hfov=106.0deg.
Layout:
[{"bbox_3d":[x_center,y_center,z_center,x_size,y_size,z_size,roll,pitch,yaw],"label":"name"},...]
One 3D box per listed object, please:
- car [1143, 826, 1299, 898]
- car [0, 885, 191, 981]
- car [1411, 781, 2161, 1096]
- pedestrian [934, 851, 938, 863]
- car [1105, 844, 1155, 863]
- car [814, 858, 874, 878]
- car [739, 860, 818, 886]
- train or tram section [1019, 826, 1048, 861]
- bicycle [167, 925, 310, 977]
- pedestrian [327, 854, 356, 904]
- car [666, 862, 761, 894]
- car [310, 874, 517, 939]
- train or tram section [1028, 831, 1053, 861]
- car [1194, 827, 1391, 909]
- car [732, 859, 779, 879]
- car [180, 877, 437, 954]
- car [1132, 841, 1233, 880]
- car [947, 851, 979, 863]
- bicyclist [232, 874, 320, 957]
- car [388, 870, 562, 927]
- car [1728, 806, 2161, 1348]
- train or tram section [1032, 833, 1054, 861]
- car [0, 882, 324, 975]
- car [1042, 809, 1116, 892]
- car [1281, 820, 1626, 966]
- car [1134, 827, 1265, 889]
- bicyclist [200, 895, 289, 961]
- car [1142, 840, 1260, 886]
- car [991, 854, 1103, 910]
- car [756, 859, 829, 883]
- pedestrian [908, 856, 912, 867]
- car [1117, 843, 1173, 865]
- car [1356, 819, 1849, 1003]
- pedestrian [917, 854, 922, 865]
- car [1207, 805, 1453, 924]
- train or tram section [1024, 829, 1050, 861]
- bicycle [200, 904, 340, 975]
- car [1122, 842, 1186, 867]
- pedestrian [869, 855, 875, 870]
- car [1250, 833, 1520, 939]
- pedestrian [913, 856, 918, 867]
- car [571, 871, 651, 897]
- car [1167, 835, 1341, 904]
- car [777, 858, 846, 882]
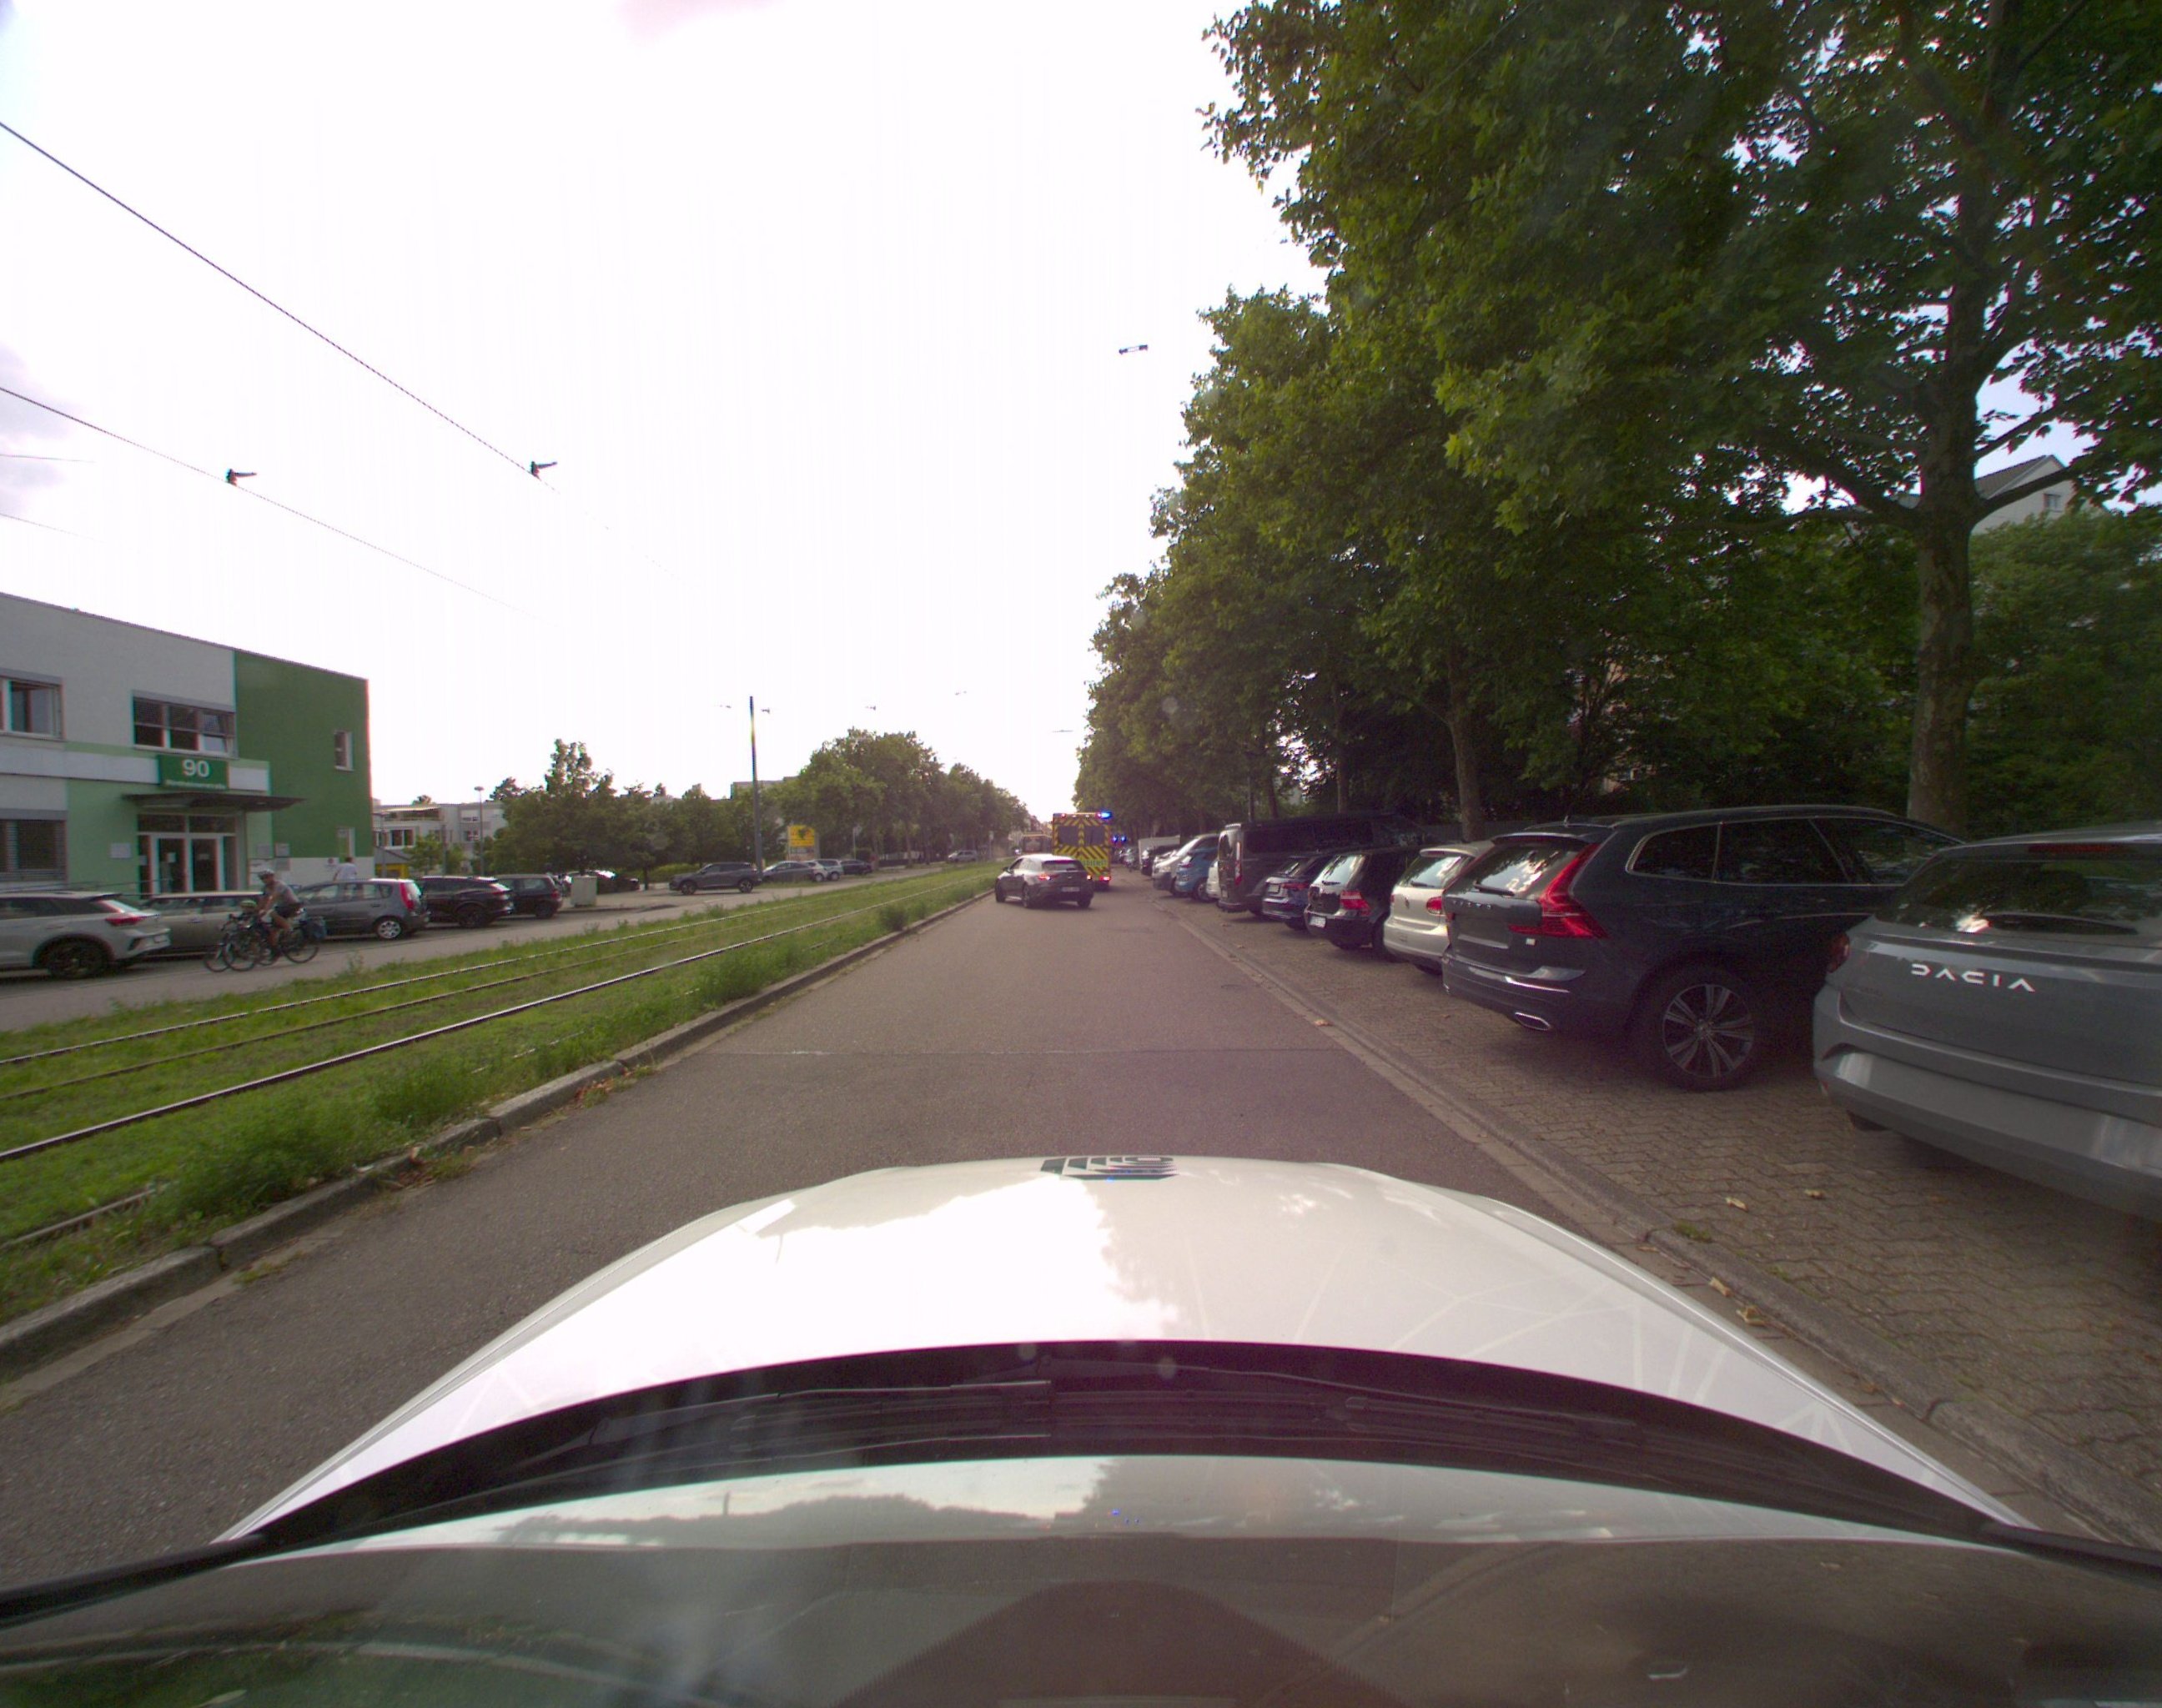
[{"bbox_3d":[4.413,0.231,26.098,4.537,2.000,1.853,-3,0,-4],"label":"car"},{"bbox_3d":[-19.116,1.443,14.351,4.252,1.482,1.863,-3,1,-34],"label":"car"},{"bbox_3d":[4.823,0.471,5.578,4.364,1.639,1.757,-3,0,1],"label":"car"},{"bbox_3d":[-22.658,0.467,127.359,0.465,1.828,0.422,-2,0,-2],"label":"pedestrian"},{"bbox_3d":[4.742,-0.078,78.965,4.537,1.608,1.853,-3,0,-4],"label":"car"},{"bbox_3d":[-18.929,1.099,65.165,4.256,1.482,1.861,-1,0,-40],"label":"car"},{"bbox_3d":[-18.933,1.160,51.016,4.253,1.482,1.863,-1,0,-36],"label":"car"},{"bbox_3d":[-5.133,-1.074,89.161,2.504,3.584,7.443,-3,0,0],"label":"train or tram section"},{"bbox_3d":[-15.654,1.780,15.204,0.642,0.717,1.808,-2,0,6],"label":"bicycle"},{"bbox_3d":[-27.487,0.932,30.287,0.544,1.828,0.508,-2,0,-2],"label":"pedestrian"},{"bbox_3d":[-18.405,1.167,40.898,4.242,1.482,1.868,-1,0,-25],"label":"car"},{"bbox_3d":[-18.937,1.435,23.387,4.247,1.482,1.866,-3,1,-29],"label":"car"},{"bbox_3d":[-5.126,-0.953,104.037,2.504,3.584,7.443,-3,0,0],"label":"train or tram section"},{"bbox_3d":[5.361,0.341,21.033,4.532,1.766,1.855,-3,0,-1],"label":"car"},{"bbox_3d":[-29.734,1.362,74.477,3.949,1.750,2.013,0,0,31],"label":"car"},{"bbox_3d":[-18.988,1.457,20.333,4.247,1.482,1.866,-3,1,-29],"label":"car"},{"bbox_3d":[4.862,0.310,39.323,4.537,1.608,1.853,-3,0,-4],"label":"car"},{"bbox_3d":[-18.738,0.433,129.698,4.651,1.633,1.861,-3,0,-39],"label":"car"},{"bbox_3d":[-15.011,1.126,15.205,0.620,1.457,0.930,-2,0,6],"label":"bicyclist"},{"bbox_3d":[-19.441,1.377,26.381,4.247,1.482,1.866,-3,1,-29],"label":"car"},{"bbox_3d":[5.227,0.527,2.907,4.364,1.501,1.757,-3,0,1],"label":"car"},{"bbox_3d":[-5.112,-0.893,111.478,2.504,3.584,7.443,-3,0,0],"label":"train or tram section"},{"bbox_3d":[-19.254,1.478,17.300,4.247,1.482,1.866,-3,1,-29],"label":"car"},{"bbox_3d":[0.040,-0.143,32.698,2.631,2.966,6.302,1,0,2],"label":"car"},{"bbox_3d":[4.994,0.467,11.148,3.967,1.605,1.750,-3,0,-11],"label":"car"},{"bbox_3d":[4.391,0.146,30.692,4.537,2.043,1.853,-3,0,-4],"label":"car"},{"bbox_3d":[-15.663,1.370,15.267,0.636,1.113,0.930,-2,0,5],"label":"bicyclist"},{"bbox_3d":[4.980,0.356,34.166,4.537,1.608,1.853,-3,0,-4],"label":"car"},{"bbox_3d":[-1.074,0.718,22.978,1.768,1.385,4.434,0,0,-23],"label":"car"},{"bbox_3d":[-19.076,1.118,53.924,4.253,1.482,1.863,-1,0,-36],"label":"car"},{"bbox_3d":[-21.695,0.943,103.382,0.420,1.473,0.467,-2,0,-5],"label":"pedestrian"},{"bbox_3d":[5.542,-0.017,70.735,4.537,1.608,1.853,-3,0,-4],"label":"car"},{"bbox_3d":[5.139,0.523,8.423,3.953,1.494,1.755,-3,0,-1],"label":"car"},{"bbox_3d":[-22.707,0.755,114.479,0.630,1.551,0.622,-2,0,1],"label":"pedestrian"},{"bbox_3d":[5.092,0.200,17.116,4.532,2.123,1.855,-3,0,-1],"label":"car"},{"bbox_3d":[-5.134,-1.014,96.592,2.504,3.584,7.443,-3,0,0],"label":"train or tram section"},{"bbox_3d":[-14.998,1.555,15.138,0.642,1.079,1.807,-2,0,5],"label":"bicycle"},{"bbox_3d":[5.423,0.031,60.884,4.537,1.608,1.853,-3,0,-4],"label":"car"},{"bbox_3d":[-23.421,0.975,91.308,0.465,1.676,0.603,-2,0,-2],"label":"pedestrian"},{"bbox_3d":[5.086,0.521,14.002,3.953,1.494,1.755,-3,0,-1],"label":"car"},{"bbox_3d":[-21.411,0.913,105.260,0.417,1.414,0.470,-2,0,25],"label":"pedestrian"},{"bbox_3d":[-29.474,1.898,51.171,3.971,1.565,1.778,0,-1,2],"label":"car"},{"bbox_3d":[4.931,0.417,23.564,4.538,1.660,1.853,-3,0,-5],"label":"car"},{"bbox_3d":[-18.817,1.099,56.961,4.253,1.482,1.863,-1,0,-36],"label":"car"}]
